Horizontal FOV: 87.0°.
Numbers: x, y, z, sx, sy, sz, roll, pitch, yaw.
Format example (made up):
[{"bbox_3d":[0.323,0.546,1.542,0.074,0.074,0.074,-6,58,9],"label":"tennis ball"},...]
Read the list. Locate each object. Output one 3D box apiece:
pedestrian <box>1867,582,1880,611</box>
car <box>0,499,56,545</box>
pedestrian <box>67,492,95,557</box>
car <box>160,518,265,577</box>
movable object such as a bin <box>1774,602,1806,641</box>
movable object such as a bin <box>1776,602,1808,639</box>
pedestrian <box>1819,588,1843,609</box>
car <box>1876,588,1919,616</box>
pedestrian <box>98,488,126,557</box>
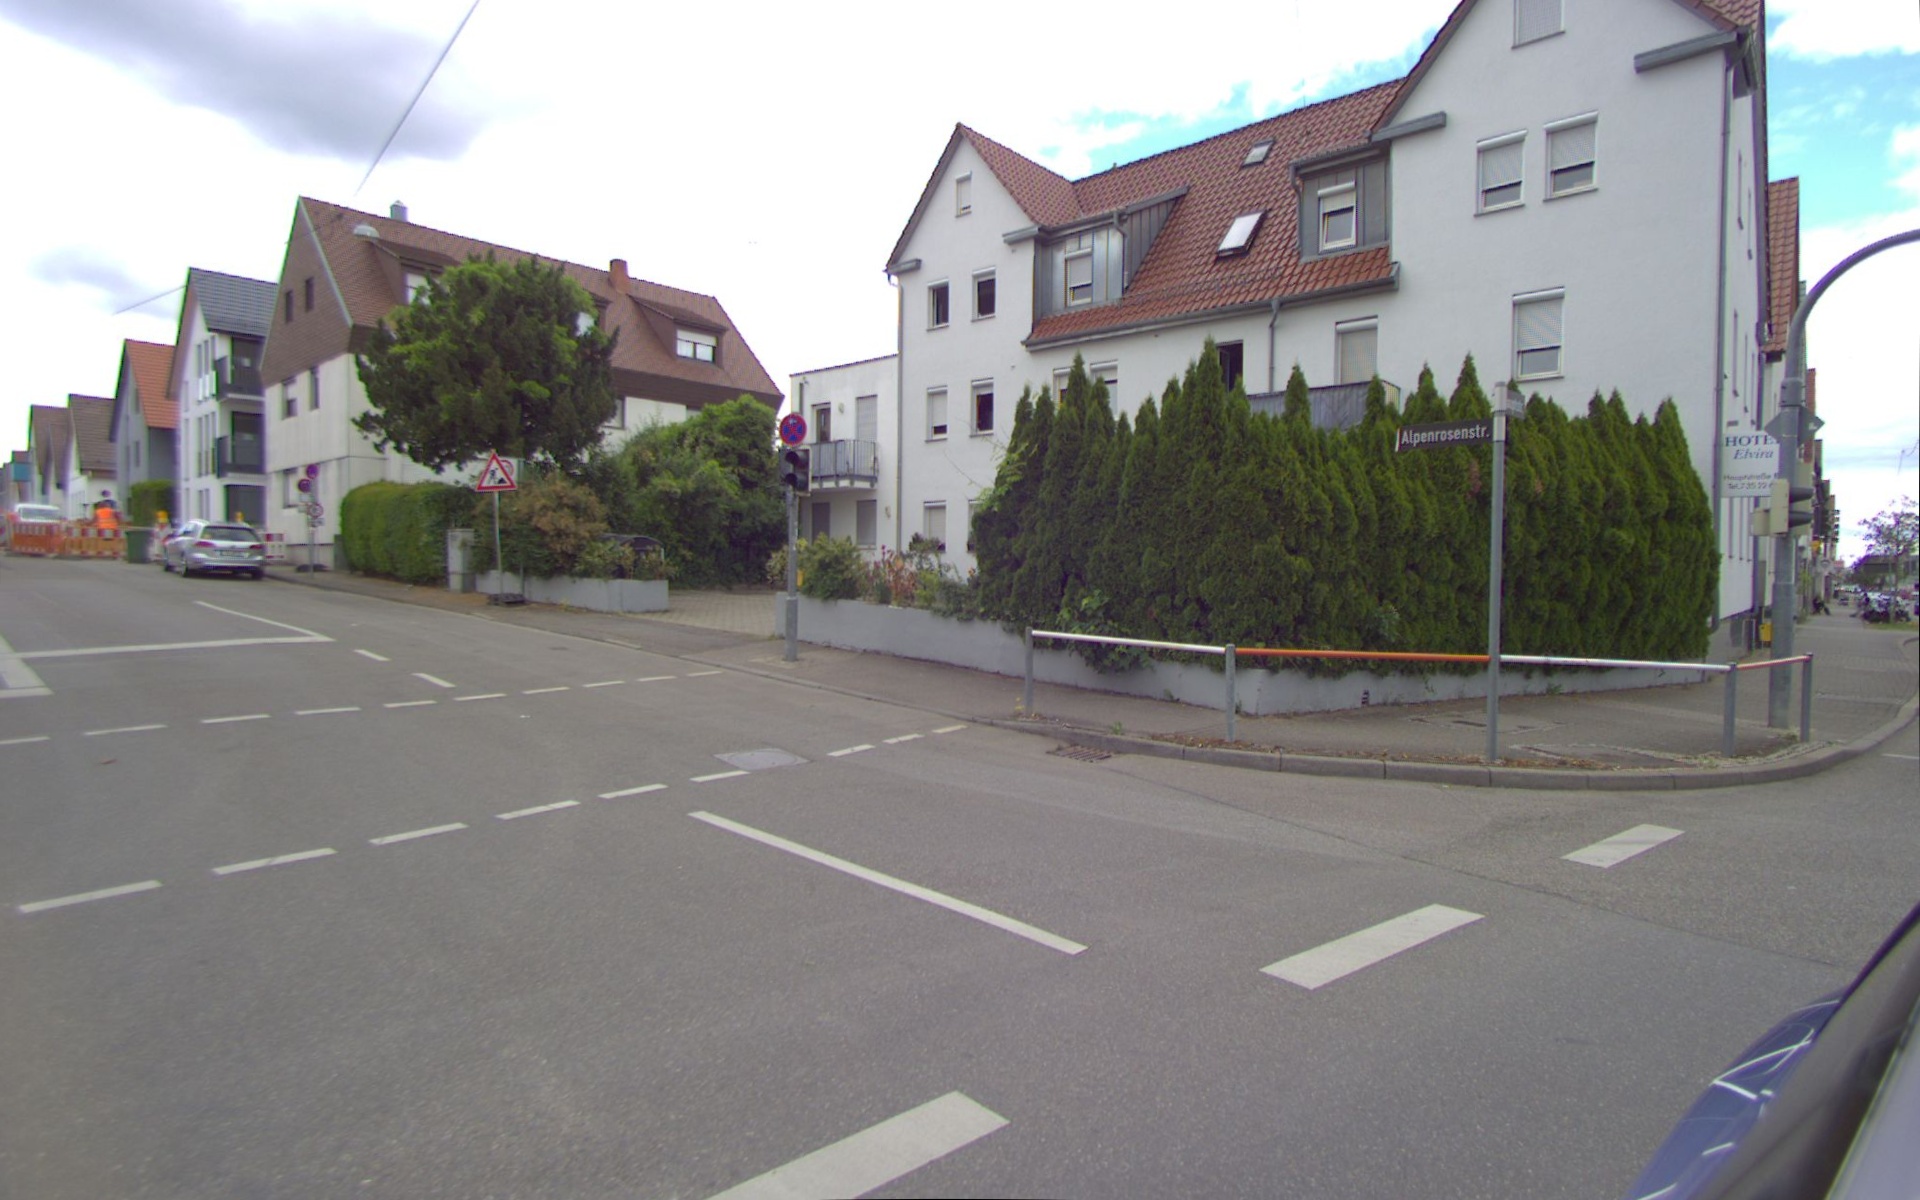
[{"bbox_3d":[56.431,-0.228,62.510,0.496,1.775,0.444,2,2,44],"label":"pedestrian"},{"bbox_3d":[-46.313,-3.821,50.230,1.968,2.039,3.989,-1,1,-45],"label":"car"},{"bbox_3d":[-28.115,-2.414,32.371,0.672,2.038,0.591,4,3,41],"label":"pedestrian"},{"bbox_3d":[-19.818,-1.423,26.768,1.699,1.426,3.991,0,3,-44],"label":"car"},{"bbox_3d":[20.856,0.531,25.427,0.564,0.914,0.511,3,3,44],"label":"movable object such as a bin"},{"bbox_3d":[21.258,0.519,25.864,0.564,0.914,0.511,3,3,44],"label":"movable object such as a bin"},{"bbox_3d":[54.553,-0.111,63.384,0.654,1.295,0.984,0,2,-35],"label":"pedestrian"},{"bbox_3d":[54.359,0.091,58.585,1.839,1.538,3.941,0,1,41],"label":"car"},{"bbox_3d":[-27.541,-2.507,32.860,0.672,2.197,0.591,4,3,41],"label":"pedestrian"}]
